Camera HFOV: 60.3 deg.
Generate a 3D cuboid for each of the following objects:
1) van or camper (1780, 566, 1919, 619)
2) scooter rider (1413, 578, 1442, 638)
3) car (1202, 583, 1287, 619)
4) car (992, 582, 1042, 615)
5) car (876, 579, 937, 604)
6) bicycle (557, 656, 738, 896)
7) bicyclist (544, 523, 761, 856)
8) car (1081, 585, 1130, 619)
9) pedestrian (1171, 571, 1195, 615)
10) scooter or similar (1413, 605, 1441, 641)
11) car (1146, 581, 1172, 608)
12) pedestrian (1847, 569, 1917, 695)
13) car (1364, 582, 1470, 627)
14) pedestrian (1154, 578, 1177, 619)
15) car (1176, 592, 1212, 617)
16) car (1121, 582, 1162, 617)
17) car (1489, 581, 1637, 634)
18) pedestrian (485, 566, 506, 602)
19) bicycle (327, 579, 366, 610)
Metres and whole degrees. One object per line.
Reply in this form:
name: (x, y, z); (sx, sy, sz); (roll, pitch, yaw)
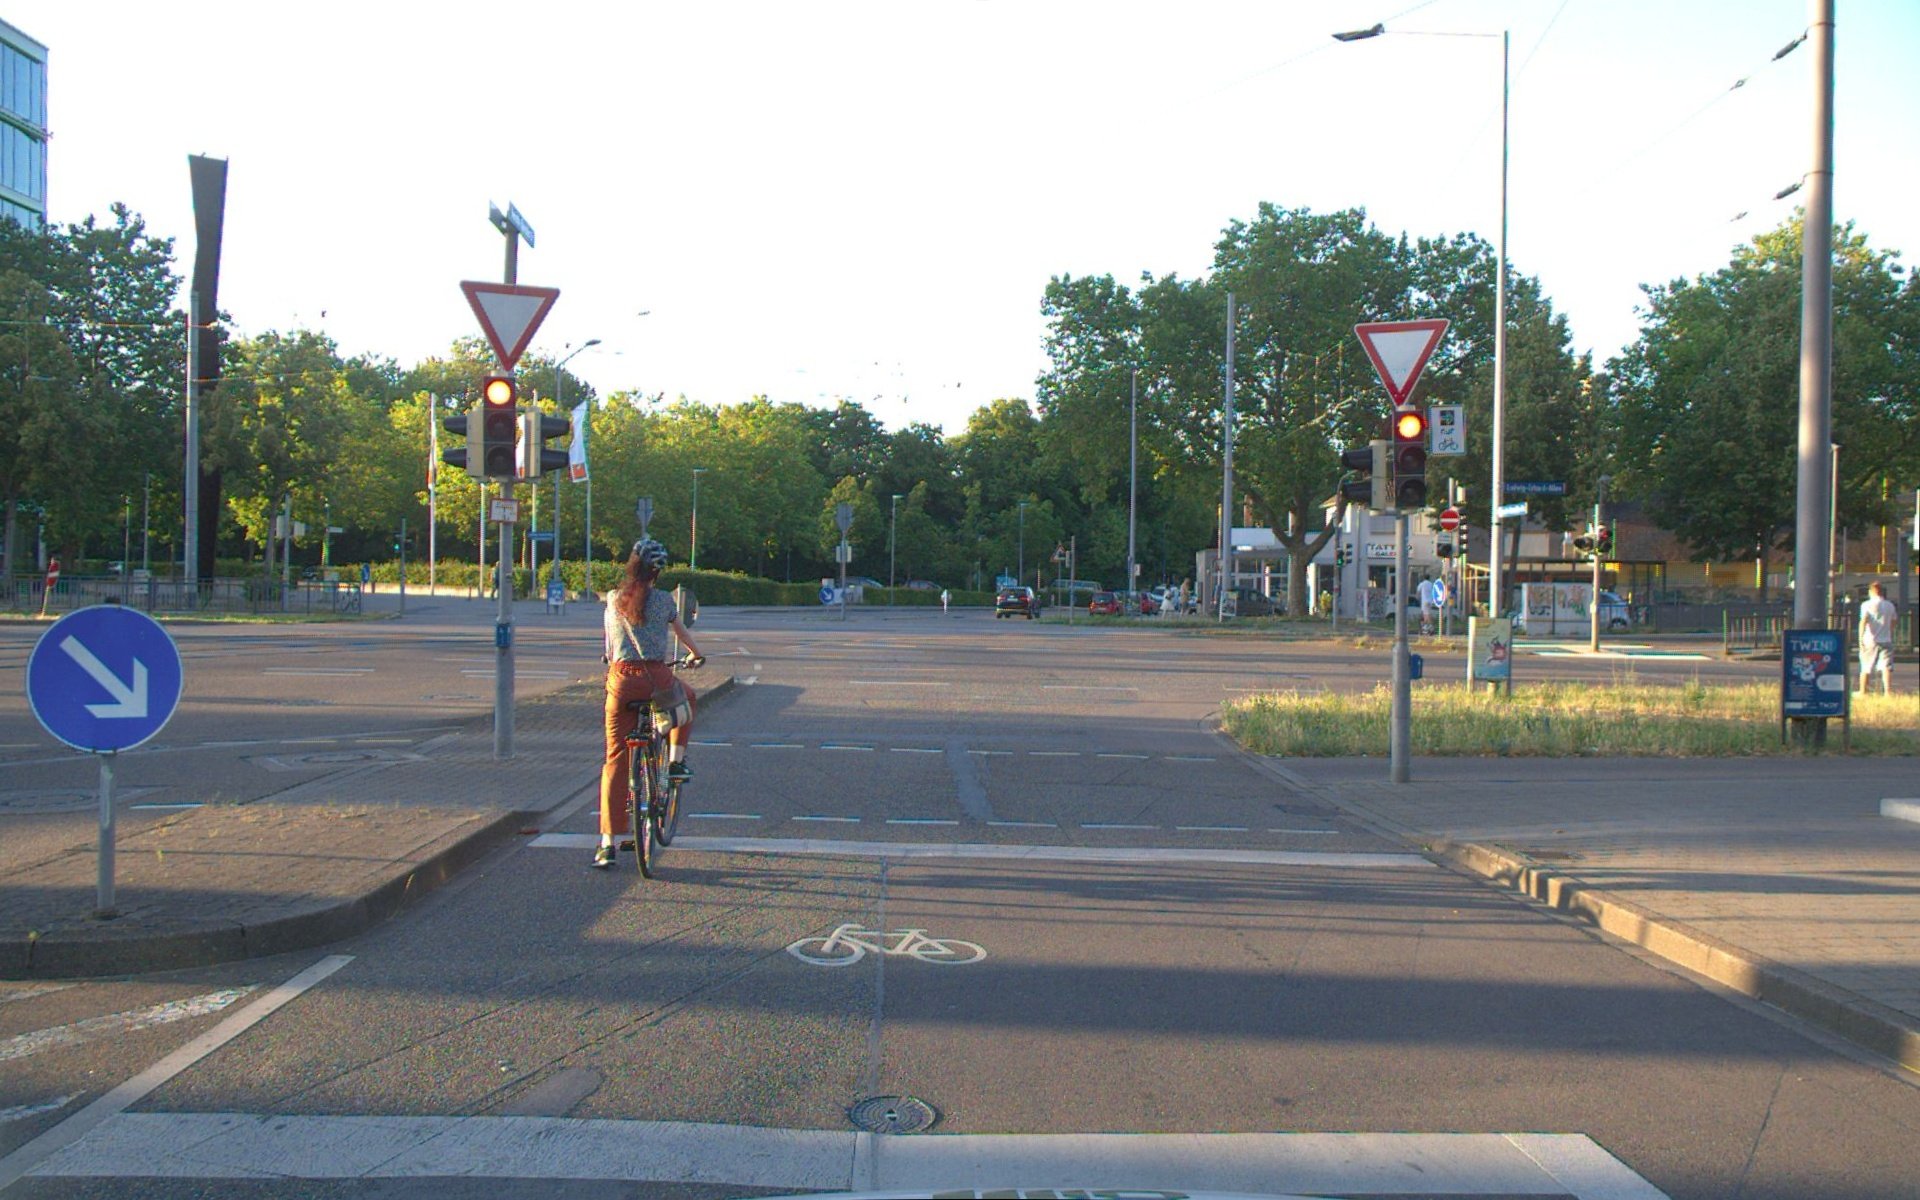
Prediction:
van or camper: (43.650, -0.345, 80.379); (6.426, 2.452, 2.265); (1, 0, 3)
scooter rider: (14.810, 0.263, 52.420); (0.688, 1.887, 0.669); (1, -1, -1)
car: (15.316, 0.030, 89.197); (4.285, 1.867, 1.950); (1, 1, 4)
car: (2.867, -0.036, 82.271); (1.718, 1.568, 4.404); (1, -1, 12)
car: (-3.503, -0.542, 109.093); (3.905, 1.588, 2.000); (1, 0, 1)
bicycle: (-1.685, 0.904, 9.220); (0.621, 1.086, 2.122); (1, 1, -1)
bicyclist: (-1.683, 0.468, 9.233); (1.011, 1.748, 0.996); (1, 0, -1)
car: (8.447, 0.092, 95.829); (1.829, 1.907, 3.875); (1, 1, 20)
pedestrian: (9.173, -0.296, 68.019); (0.704, 1.785, 0.897); (1, 0, 23)
scooter or similar: (14.786, 0.714, 52.386); (0.499, 1.109, 1.243); (1, 0, -1)
car: (15.814, -0.454, 131.422); (1.951, 2.049, 4.003); (1, 1, 6)
pedestrian: (13.682, 0.465, 24.551); (0.745, 1.822, 0.802); (1, 0, 19)
car: (20.088, 0.172, 72.780); (4.142, 1.878, 2.001); (1, 0, 2)
pedestrian: (8.498, -0.065, 68.383); (0.704, 1.667, 0.897); (1, 0, 23)
car: (16.396, 0.291, 115.719); (1.875, 1.630, 4.002); (1, 1, 17)
car: (11.374, -0.041, 103.488); (1.875, 2.083, 4.002); (1, 1, 17)
car: (20.811, 0.257, 57.203); (4.445, 1.758, 1.860); (1, 0, -5)
pedestrian: (-22.813, -0.783, 81.200); (0.884, 1.785, 0.715); (1, 0, -26)
bicycle: (-23.131, -0.212, 62.368); (0.685, 1.156, 2.391); (1, 1, -3)
